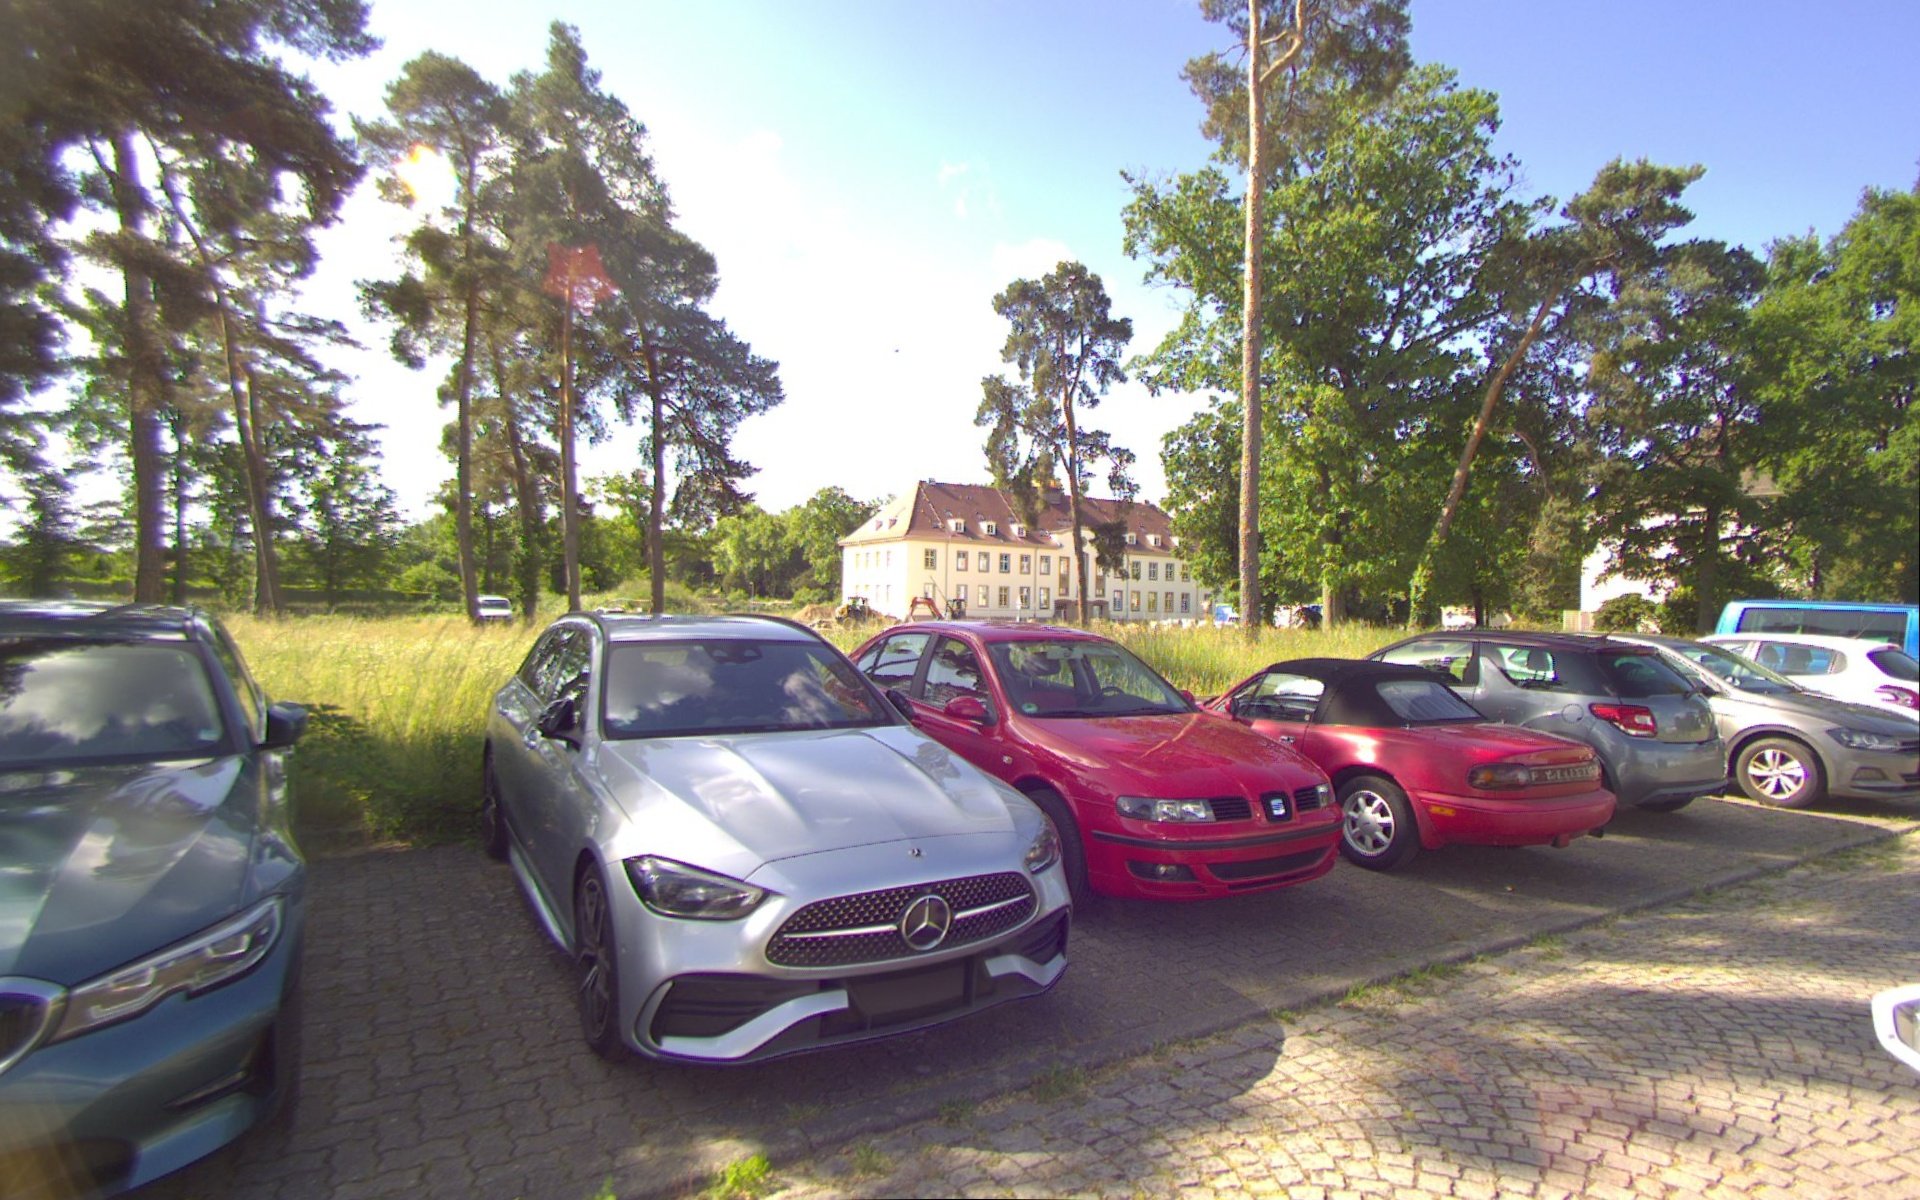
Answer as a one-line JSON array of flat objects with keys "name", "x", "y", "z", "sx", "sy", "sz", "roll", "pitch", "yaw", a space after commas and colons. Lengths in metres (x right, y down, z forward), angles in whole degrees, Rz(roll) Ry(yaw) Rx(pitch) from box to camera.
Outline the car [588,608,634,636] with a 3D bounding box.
[{"name": "car", "x": -21.302, "y": 1.338, "z": 61.212, "sx": 1.890, "sy": 1.626, "sz": 4.208, "roll": 2, "pitch": -1, "yaw": -30}]

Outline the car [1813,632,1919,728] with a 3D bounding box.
[{"name": "car", "x": 16.360, "y": 1.355, "z": 16.092, "sx": 1.666, "sy": 1.459, "sz": 3.791, "roll": 2, "pitch": 1, "yaw": -34}]

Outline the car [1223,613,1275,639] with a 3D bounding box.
[{"name": "car", "x": 28.559, "y": 2.577, "z": 99.119, "sx": 5.217, "sy": 2.469, "sz": 1.974, "roll": 2, "pitch": -1, "yaw": -32}]

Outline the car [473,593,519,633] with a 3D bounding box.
[{"name": "car", "x": -26.618, "y": 0.752, "z": 57.536, "sx": 1.934, "sy": 2.193, "sz": 4.822, "roll": 2, "pitch": -1, "yaw": -30}]

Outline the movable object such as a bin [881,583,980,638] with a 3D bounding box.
[{"name": "movable object such as a bin", "x": -2.043, "y": 0.810, "z": 72.236, "sx": 3.865, "sy": 3.780, "sz": 6.772, "roll": 0, "pitch": -1, "yaw": 34}]

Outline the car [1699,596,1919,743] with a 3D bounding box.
[{"name": "car", "x": 14.108, "y": 1.017, "z": 14.844, "sx": 1.983, "sy": 1.994, "sz": 4.692, "roll": 2, "pitch": 1, "yaw": -32}]

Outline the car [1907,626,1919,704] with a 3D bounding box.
[{"name": "car", "x": 21.505, "y": 1.394, "z": 19.686, "sx": 1.953, "sy": 1.589, "sz": 3.930, "roll": 1, "pitch": 1, "yaw": -33}]

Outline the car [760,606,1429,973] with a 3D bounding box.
[{"name": "car", "x": 0.396, "y": 0.848, "z": 6.874, "sx": 1.916, "sy": 1.440, "sz": 4.839, "roll": 2, "pitch": 0, "yaw": -31}]

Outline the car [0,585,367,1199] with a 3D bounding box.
[{"name": "car", "x": -3.521, "y": 0.718, "z": 3.681, "sx": 1.965, "sy": 1.471, "sz": 4.550, "roll": 2, "pitch": 0, "yaw": -35}]

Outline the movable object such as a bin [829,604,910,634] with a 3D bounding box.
[{"name": "movable object such as a bin", "x": -6.770, "y": 1.434, "z": 75.354, "sx": 5.564, "sy": 2.153, "sz": 2.530, "roll": 1, "pitch": -1, "yaw": 14}]

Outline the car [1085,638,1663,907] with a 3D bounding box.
[{"name": "car", "x": 2.738, "y": 1.023, "z": 7.413, "sx": 1.740, "sy": 1.250, "sz": 3.612, "roll": 3, "pitch": 0, "yaw": -30}]

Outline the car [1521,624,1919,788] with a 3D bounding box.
[{"name": "car", "x": 9.499, "y": 1.133, "z": 12.351, "sx": 1.803, "sy": 1.495, "sz": 4.173, "roll": 1, "pitch": 1, "yaw": -32}]

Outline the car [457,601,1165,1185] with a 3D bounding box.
[{"name": "car", "x": -1.331, "y": 0.821, "z": 5.252, "sx": 1.917, "sy": 1.440, "sz": 4.839, "roll": 3, "pitch": 0, "yaw": -31}]

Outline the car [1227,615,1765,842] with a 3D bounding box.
[{"name": "car", "x": 4.647, "y": 0.977, "z": 9.358, "sx": 1.801, "sy": 1.471, "sz": 4.056, "roll": 3, "pitch": 0, "yaw": -30}]

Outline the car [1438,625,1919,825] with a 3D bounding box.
[{"name": "car", "x": 7.379, "y": 1.073, "z": 10.352, "sx": 1.901, "sy": 1.444, "sz": 4.056, "roll": 1, "pitch": 1, "yaw": -30}]
